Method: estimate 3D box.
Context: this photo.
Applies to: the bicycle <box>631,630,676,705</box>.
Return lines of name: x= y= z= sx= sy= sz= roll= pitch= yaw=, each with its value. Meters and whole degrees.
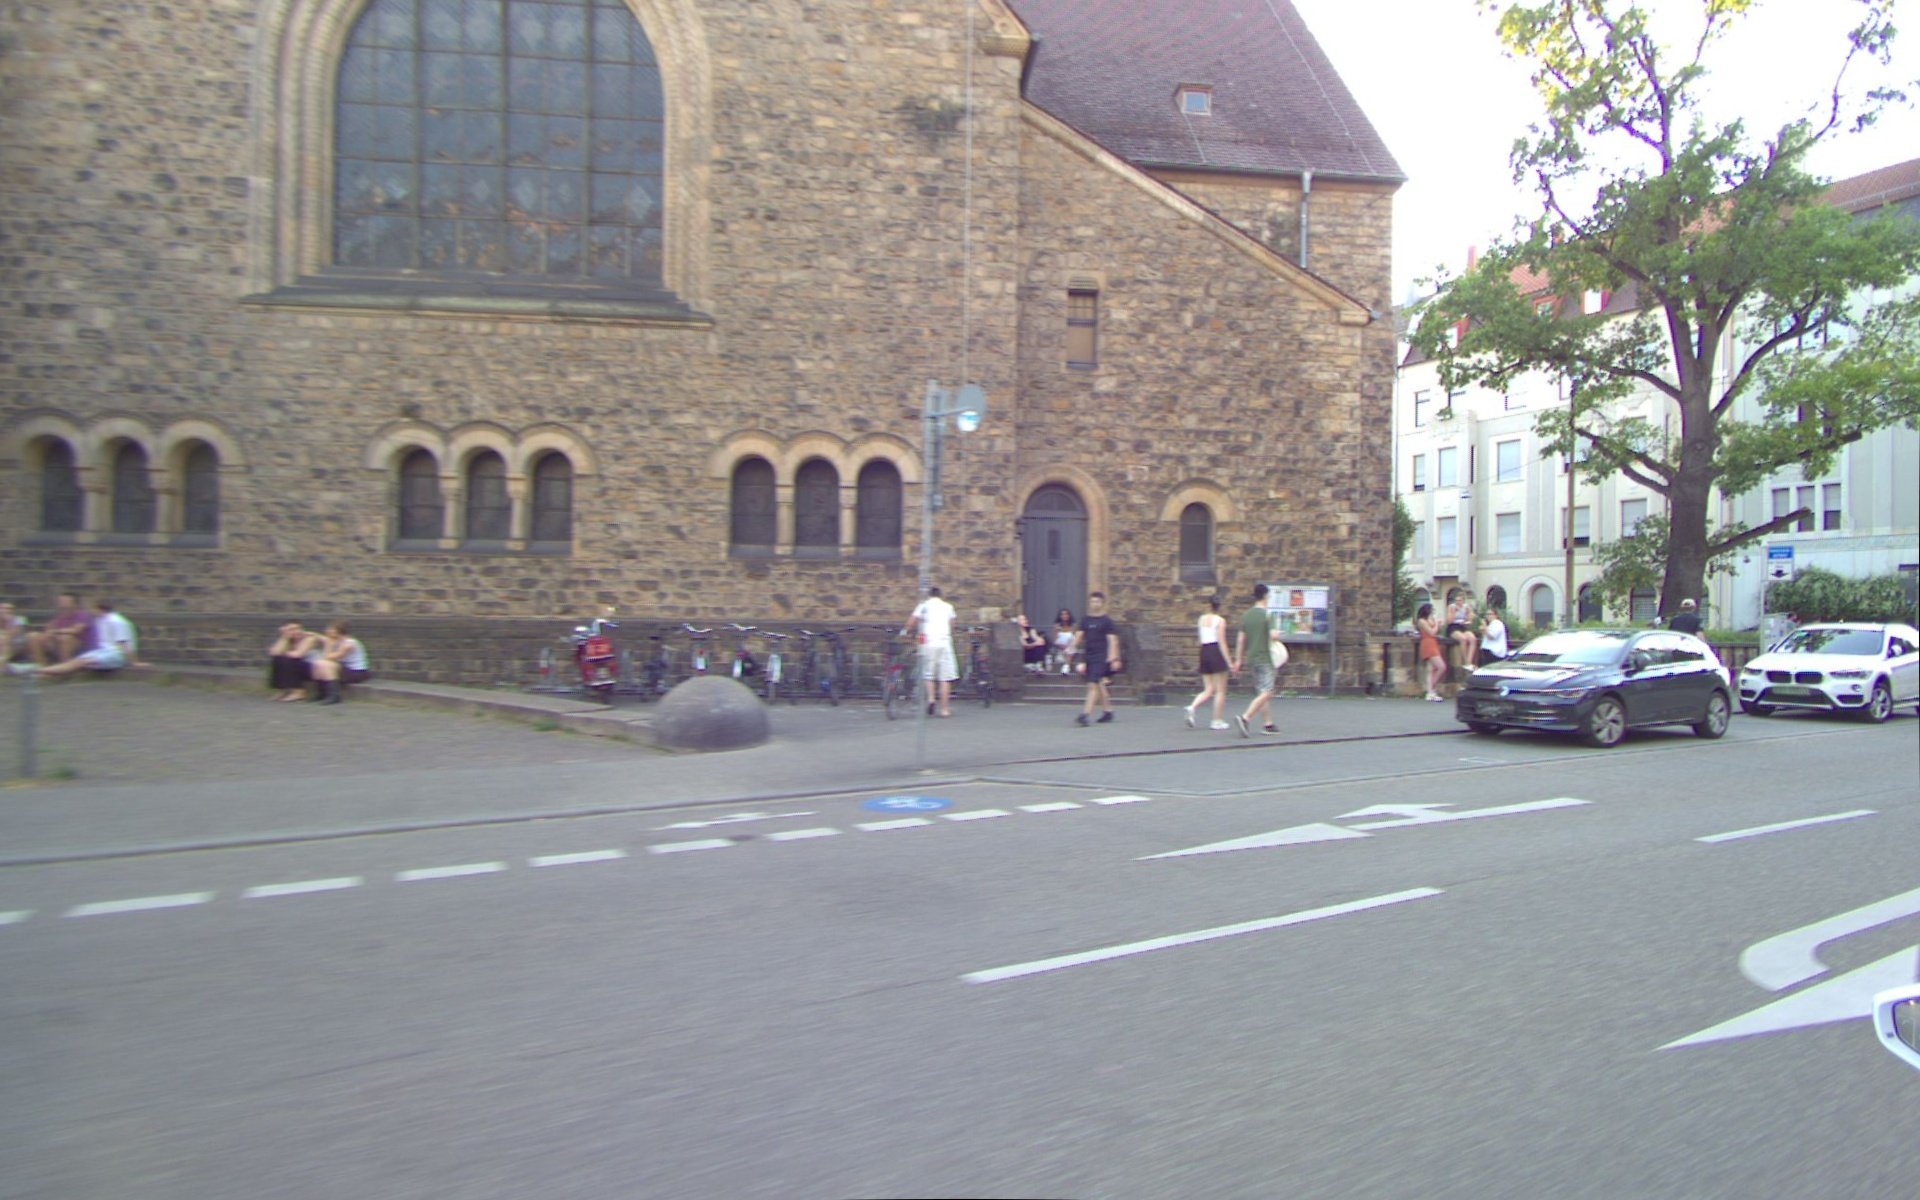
bicycle: x=-4.468 y=0.948 z=14.709 sx=0.576 sy=1.002 sz=2.001 roll=1 pitch=-1 yaw=-16

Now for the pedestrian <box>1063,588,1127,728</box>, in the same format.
pedestrian: x=1.755 y=0.739 z=13.028 sx=0.702 sy=1.748 sz=0.692 roll=0 pitch=-1 yaw=17

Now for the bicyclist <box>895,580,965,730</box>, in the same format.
bicyclist: x=-0.385 y=0.708 z=13.383 sx=0.693 sy=1.905 sz=0.943 roll=1 pitch=0 yaw=11

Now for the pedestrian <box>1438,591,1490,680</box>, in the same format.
pedestrian: x=9.138 y=0.642 z=18.217 sx=0.574 sy=1.566 sz=0.652 roll=1 pitch=-1 yaw=-6

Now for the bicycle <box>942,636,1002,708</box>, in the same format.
bicycle: x=0.158 y=1.059 z=15.319 sx=0.434 sy=1.002 sz=1.879 roll=1 pitch=-1 yaw=-14

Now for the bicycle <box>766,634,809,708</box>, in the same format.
bicycle: x=-2.595 y=1.028 z=14.989 sx=0.458 sy=1.002 sz=2.002 roll=1 pitch=-1 yaw=-14

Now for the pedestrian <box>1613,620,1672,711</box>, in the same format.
pedestrian: x=12.121 y=1.146 z=17.833 sx=0.830 sy=1.572 sz=0.578 roll=1 pitch=0 yaw=-33

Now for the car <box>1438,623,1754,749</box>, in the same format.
car: x=8.582 y=1.068 z=13.489 sx=4.263 sy=1.454 sz=1.776 roll=2 pitch=-1 yaw=-29

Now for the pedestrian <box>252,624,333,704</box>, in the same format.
pedestrian: x=-8.471 y=0.800 z=12.757 sx=0.551 sy=0.980 sz=0.649 roll=0 pitch=-1 yaw=27

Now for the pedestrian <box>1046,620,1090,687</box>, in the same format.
pedestrian: x=1.757 y=0.868 z=16.433 sx=0.596 sy=1.062 sz=0.498 roll=1 pitch=-1 yaw=-10

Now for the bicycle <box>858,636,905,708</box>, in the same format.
bicycle: x=-1.209 y=1.059 z=15.229 sx=0.364 sy=1.002 sz=1.879 roll=1 pitch=-1 yaw=-15

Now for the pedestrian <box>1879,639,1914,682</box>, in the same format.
pedestrian: x=33.022 y=2.116 z=35.415 sx=0.775 sy=1.488 sz=0.698 roll=1 pitch=-2 yaw=-31

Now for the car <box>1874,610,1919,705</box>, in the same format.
car: x=21.509 y=1.193 z=21.003 sx=5.224 sy=1.891 sz=1.985 roll=1 pitch=-1 yaw=-29

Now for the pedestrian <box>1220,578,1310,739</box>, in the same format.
pedestrian: x=3.757 y=0.705 z=12.373 sx=0.882 sy=1.904 sz=0.643 roll=1 pitch=-1 yaw=-33

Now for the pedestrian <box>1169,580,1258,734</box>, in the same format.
pedestrian: x=3.233 y=0.712 z=12.792 sx=0.978 sy=1.881 sz=0.569 roll=1 pitch=-1 yaw=-33

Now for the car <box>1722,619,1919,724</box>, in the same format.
car: x=15.376 y=1.181 z=17.552 sx=4.419 sy=1.613 sz=1.861 roll=2 pitch=-2 yaw=-32

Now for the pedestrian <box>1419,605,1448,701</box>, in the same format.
pedestrian: x=8.498 y=0.940 z=18.040 sx=0.407 sy=1.697 sz=0.548 roll=1 pitch=-1 yaw=20

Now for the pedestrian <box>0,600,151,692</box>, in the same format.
pedestrian: x=-11.365 y=0.571 z=12.910 sx=0.672 sy=1.109 sz=1.333 roll=0 pitch=-1 yaw=20

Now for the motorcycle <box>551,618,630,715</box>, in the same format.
motorcycle: x=-5.208 y=0.873 z=14.052 sx=0.811 sy=1.141 sz=2.407 roll=1 pitch=1 yaw=-25

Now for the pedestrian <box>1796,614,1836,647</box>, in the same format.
pedestrian: x=26.000 y=0.925 z=30.517 sx=0.827 sy=0.993 sz=0.702 roll=2 pitch=-2 yaw=-32

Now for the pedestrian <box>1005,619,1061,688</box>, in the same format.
pedestrian: x=1.170 y=0.836 z=16.013 sx=0.726 sy=1.062 sz=0.519 roll=0 pitch=-1 yaw=30

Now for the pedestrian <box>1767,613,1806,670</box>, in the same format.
pedestrian: x=25.627 y=1.271 z=31.132 sx=0.827 sy=1.744 sz=0.702 roll=1 pitch=-1 yaw=-32

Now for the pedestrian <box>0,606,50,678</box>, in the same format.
pedestrian: x=-12.662 y=0.543 z=13.262 sx=0.635 sy=0.928 sz=0.740 roll=0 pitch=-1 yaw=21

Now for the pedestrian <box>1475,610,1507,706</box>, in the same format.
pedestrian: x=9.252 y=0.996 z=17.504 sx=0.407 sy=1.643 sz=0.548 roll=1 pitch=-1 yaw=20

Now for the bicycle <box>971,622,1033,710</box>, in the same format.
bicycle: x=0.621 y=0.979 z=15.408 sx=0.430 sy=1.265 sz=1.728 roll=1 pitch=-1 yaw=-15

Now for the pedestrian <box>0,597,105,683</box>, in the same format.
pedestrian: x=-11.968 y=0.521 z=13.248 sx=0.635 sy=1.090 sz=0.830 roll=0 pitch=-1 yaw=20

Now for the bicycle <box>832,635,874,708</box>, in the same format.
bicycle: x=-1.632 y=1.052 z=15.164 sx=0.364 sy=1.002 sz=1.879 roll=1 pitch=-1 yaw=-14

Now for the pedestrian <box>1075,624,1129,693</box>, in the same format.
pedestrian: x=2.235 y=0.914 z=15.848 sx=0.688 sy=1.070 sz=0.516 roll=1 pitch=-1 yaw=-13

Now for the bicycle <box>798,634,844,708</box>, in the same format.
bicycle: x=-2.103 y=1.032 z=15.078 sx=0.458 sy=1.002 sz=1.985 roll=1 pitch=-1 yaw=-14

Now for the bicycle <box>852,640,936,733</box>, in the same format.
bicycle: x=-0.827 y=1.080 z=13.172 sx=0.542 sy=1.026 sz=2.189 roll=1 pitch=0 yaw=11

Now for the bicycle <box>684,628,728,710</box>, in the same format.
bicycle: x=-3.744 y=0.980 z=14.820 sx=0.576 sy=1.002 sz=2.002 roll=1 pitch=2 yaw=-14

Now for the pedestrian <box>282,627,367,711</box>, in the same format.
pedestrian: x=-7.919 y=0.843 z=12.535 sx=0.551 sy=1.005 sz=0.695 roll=0 pitch=-1 yaw=27

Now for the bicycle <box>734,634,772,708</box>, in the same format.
bicycle: x=-3.092 y=1.018 z=14.914 sx=0.458 sy=1.002 sz=2.002 roll=1 pitch=-1 yaw=-14

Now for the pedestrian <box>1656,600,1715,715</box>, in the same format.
pedestrian: x=12.460 y=0.973 z=17.247 sx=0.794 sy=1.930 sz=0.579 roll=1 pitch=-1 yaw=-33
